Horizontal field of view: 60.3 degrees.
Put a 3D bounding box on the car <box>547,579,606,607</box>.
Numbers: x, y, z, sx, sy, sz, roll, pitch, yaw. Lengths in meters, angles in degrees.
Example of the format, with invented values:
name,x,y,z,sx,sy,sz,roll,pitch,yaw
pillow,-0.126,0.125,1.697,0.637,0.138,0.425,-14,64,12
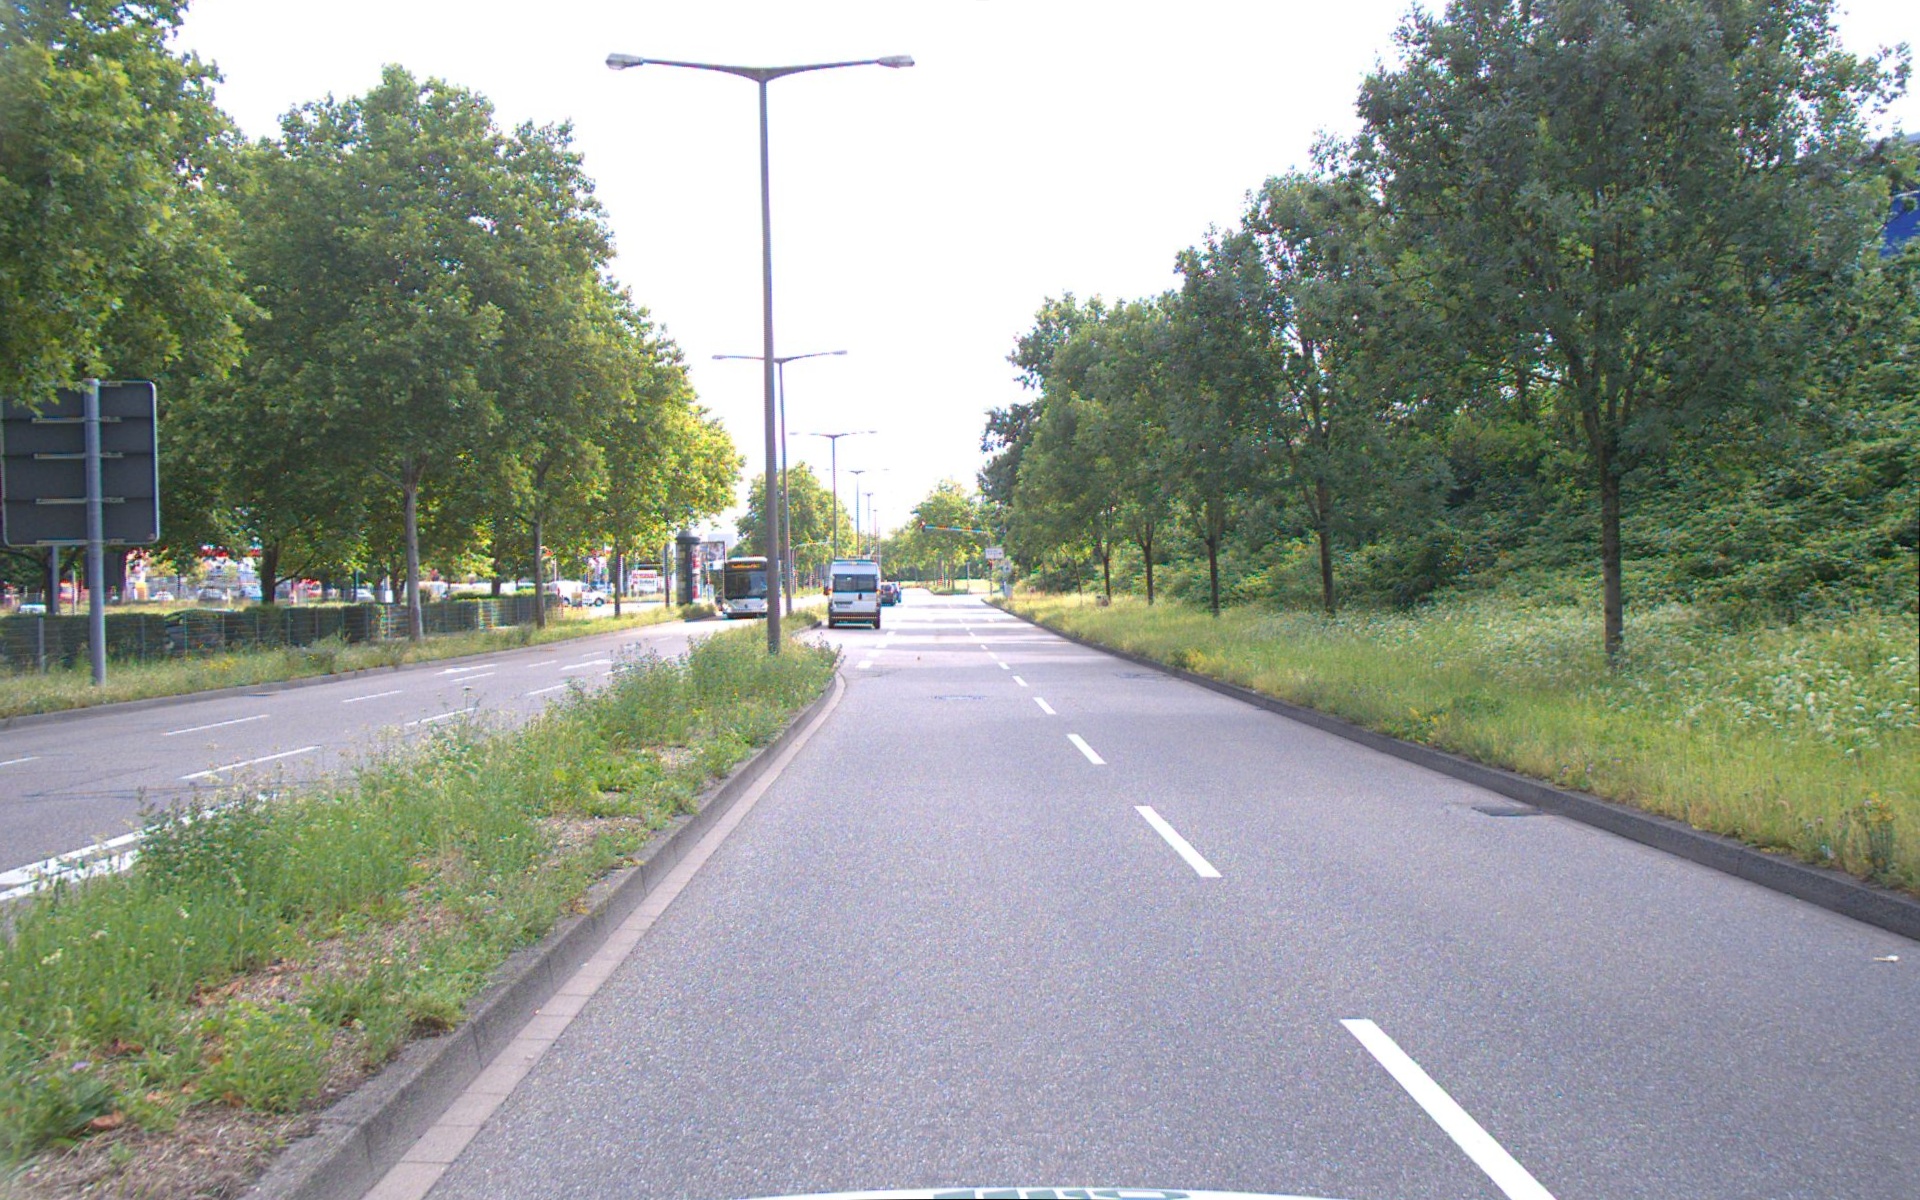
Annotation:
name,x,y,z,sx,sy,sz,roll,pitch,yaw
car,-28.838,-0.497,124.510,3.963,1.870,1.837,3,-5,-41

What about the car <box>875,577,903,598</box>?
name,x,y,z,sx,sy,sz,roll,pitch,yaw
car,-5.289,-0.918,122.787,1.772,1.496,3.851,-1,0,-6

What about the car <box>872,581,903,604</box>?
name,x,y,z,sx,sy,sz,roll,pitch,yaw
car,-4.873,-0.475,110.777,1.772,1.496,3.851,-1,0,-6

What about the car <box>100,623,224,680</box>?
name,x,y,z,sx,sy,sz,roll,pitch,yaw
car,-24.209,1.612,50.332,1.853,1.624,3.998,0,-3,-1

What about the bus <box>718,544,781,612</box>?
name,x,y,z,sx,sy,sz,roll,pitch,yaw
bus,-11.533,-1.073,89.877,3.051,3.332,12.314,-2,0,-8

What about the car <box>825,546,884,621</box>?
name,x,y,z,sx,sy,sz,roll,pitch,yaw
car,-4.122,-0.598,64.073,2.154,2.774,4.927,1,0,-4
